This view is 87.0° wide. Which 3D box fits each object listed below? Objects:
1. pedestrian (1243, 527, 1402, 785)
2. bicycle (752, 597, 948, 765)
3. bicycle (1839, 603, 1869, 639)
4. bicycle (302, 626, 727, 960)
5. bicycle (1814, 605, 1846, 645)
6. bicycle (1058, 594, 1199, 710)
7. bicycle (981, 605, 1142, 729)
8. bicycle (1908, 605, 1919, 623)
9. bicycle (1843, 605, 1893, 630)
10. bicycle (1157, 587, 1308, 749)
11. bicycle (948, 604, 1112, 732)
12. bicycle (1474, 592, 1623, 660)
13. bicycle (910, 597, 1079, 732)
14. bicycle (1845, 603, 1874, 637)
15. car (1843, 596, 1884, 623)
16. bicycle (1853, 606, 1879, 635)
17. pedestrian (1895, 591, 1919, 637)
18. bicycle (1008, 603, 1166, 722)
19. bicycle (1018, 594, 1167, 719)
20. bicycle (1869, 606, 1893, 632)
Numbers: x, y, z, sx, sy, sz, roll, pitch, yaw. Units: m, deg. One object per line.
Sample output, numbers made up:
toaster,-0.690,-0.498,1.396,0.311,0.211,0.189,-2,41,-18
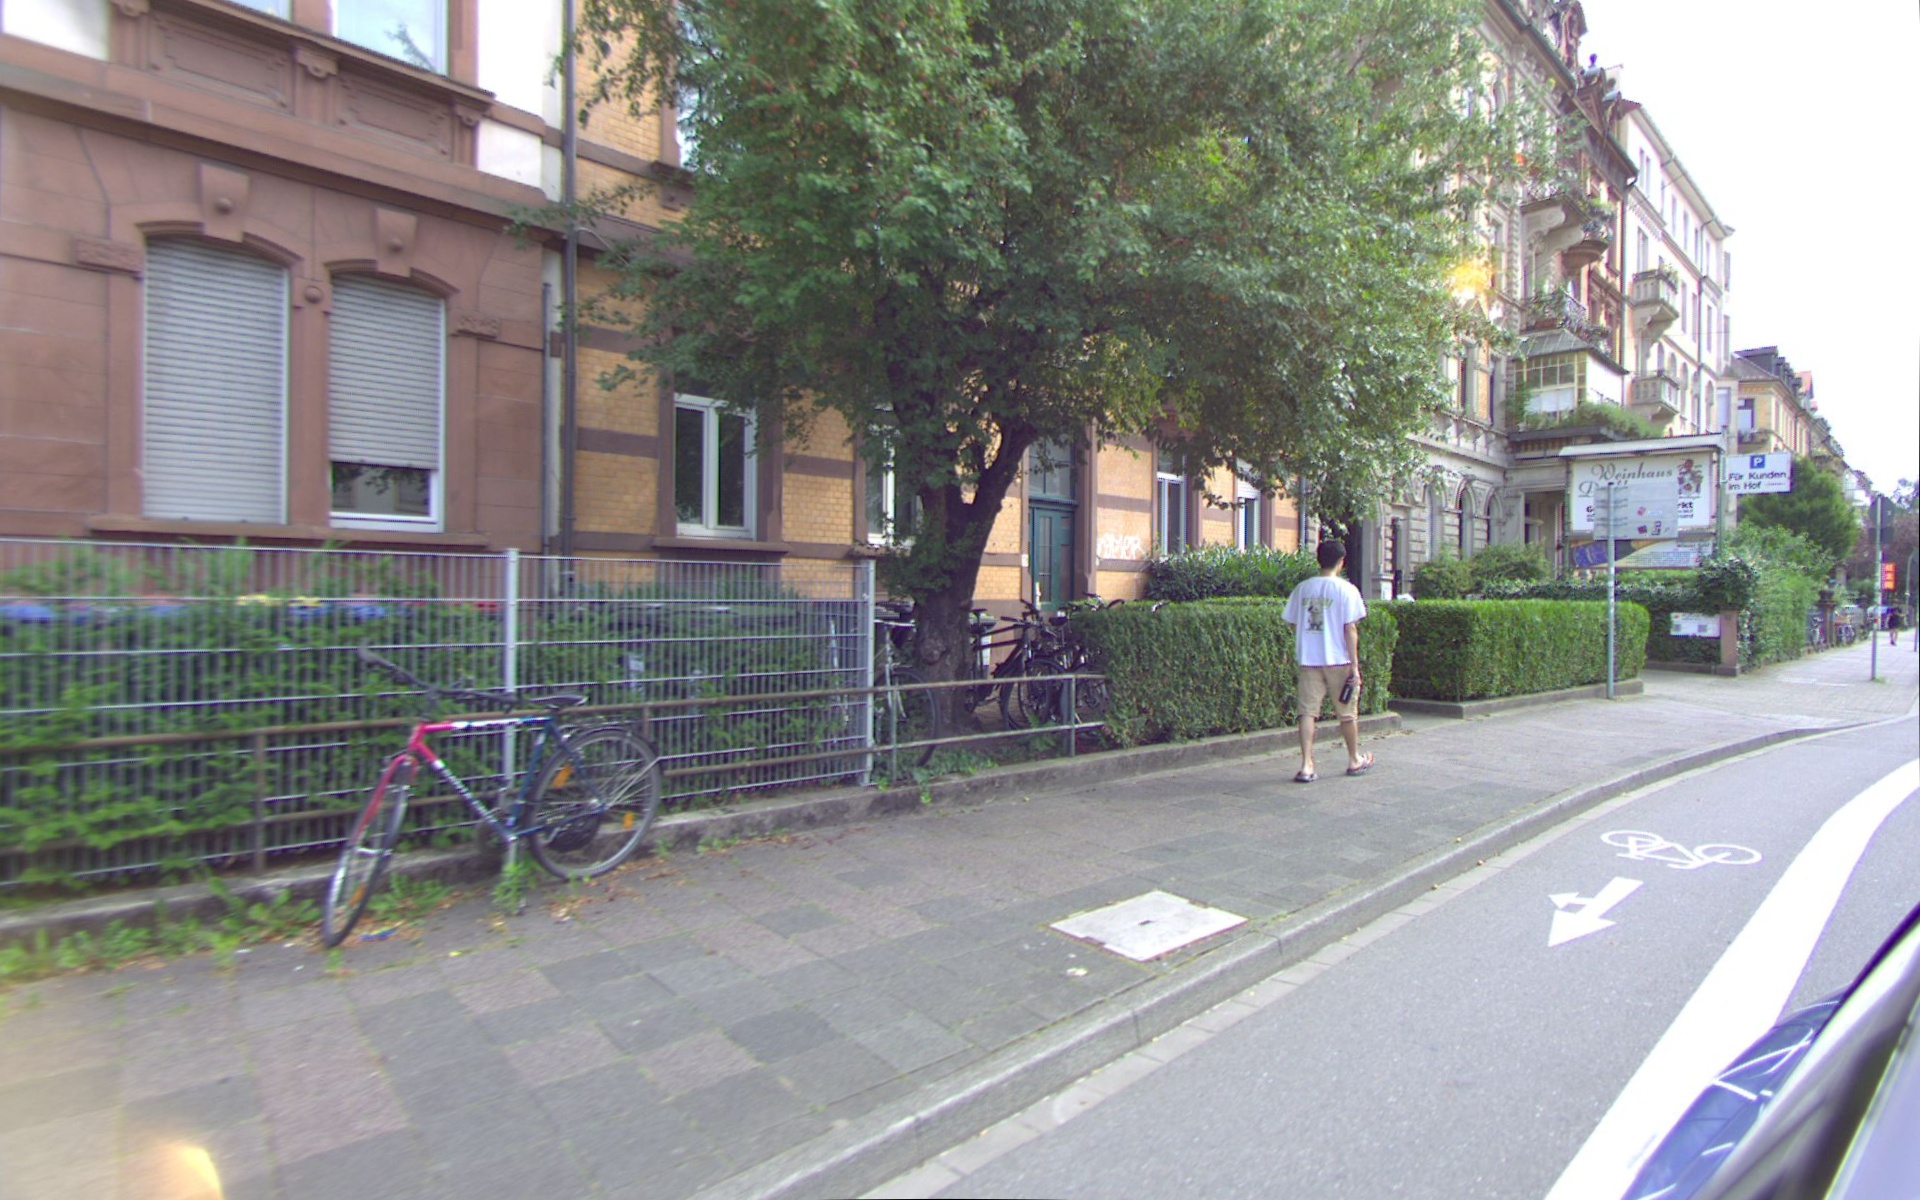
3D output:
pedestrian,2.707,0.382,7.552,0.932,1.776,0.732,1,0,-39
bicycle,-0.801,0.505,7.047,0.502,1.021,1.546,1,1,-45
bicycle,29.638,0.681,33.532,0.579,1.125,1.645,6,4,45
bicycle,-1.801,0.696,4.244,1.524,1.101,0.509,0,3,-44
bicycle,25.762,0.722,29.963,0.579,1.126,1.645,1,0,45
bicycle,1.863,0.538,11.349,0.509,1.196,1.546,1,1,-45
bicycle,0.902,0.575,9.315,0.437,1.021,1.546,1,1,-45
bicycle,60.651,0.890,64.217,1.843,1.127,0.630,0,0,-43
bicycle,43.700,0.840,48.701,1.838,1.127,0.631,1,0,-1
bicycle,2.407,0.547,8.858,1.523,1.298,0.517,0,0,-42
bicycle,0.594,0.563,9.019,0.437,1.021,1.546,1,1,-45
bicycle,12.411,0.517,21.431,2.624,1.328,0.758,1,0,44
bicycle,0.256,0.495,8.535,0.437,1.021,1.546,1,1,-45
bicycle,31.016,0.674,34.901,0.579,1.125,1.645,6,4,45
car,55.126,0.564,61.766,1.750,1.544,3.941,1,1,40
bicycle,33.525,0.745,37.450,0.579,0.994,1.645,6,4,45
pedestrian,34.965,0.501,37.253,0.821,1.644,0.731,1,0,-44
bicycle,1.179,0.552,9.653,0.437,1.021,1.546,1,1,-45
bicycle,1.352,0.545,10.547,0.509,1.196,1.546,1,1,-45
bicycle,37.716,0.782,41.448,0.579,0.994,1.645,6,4,45
